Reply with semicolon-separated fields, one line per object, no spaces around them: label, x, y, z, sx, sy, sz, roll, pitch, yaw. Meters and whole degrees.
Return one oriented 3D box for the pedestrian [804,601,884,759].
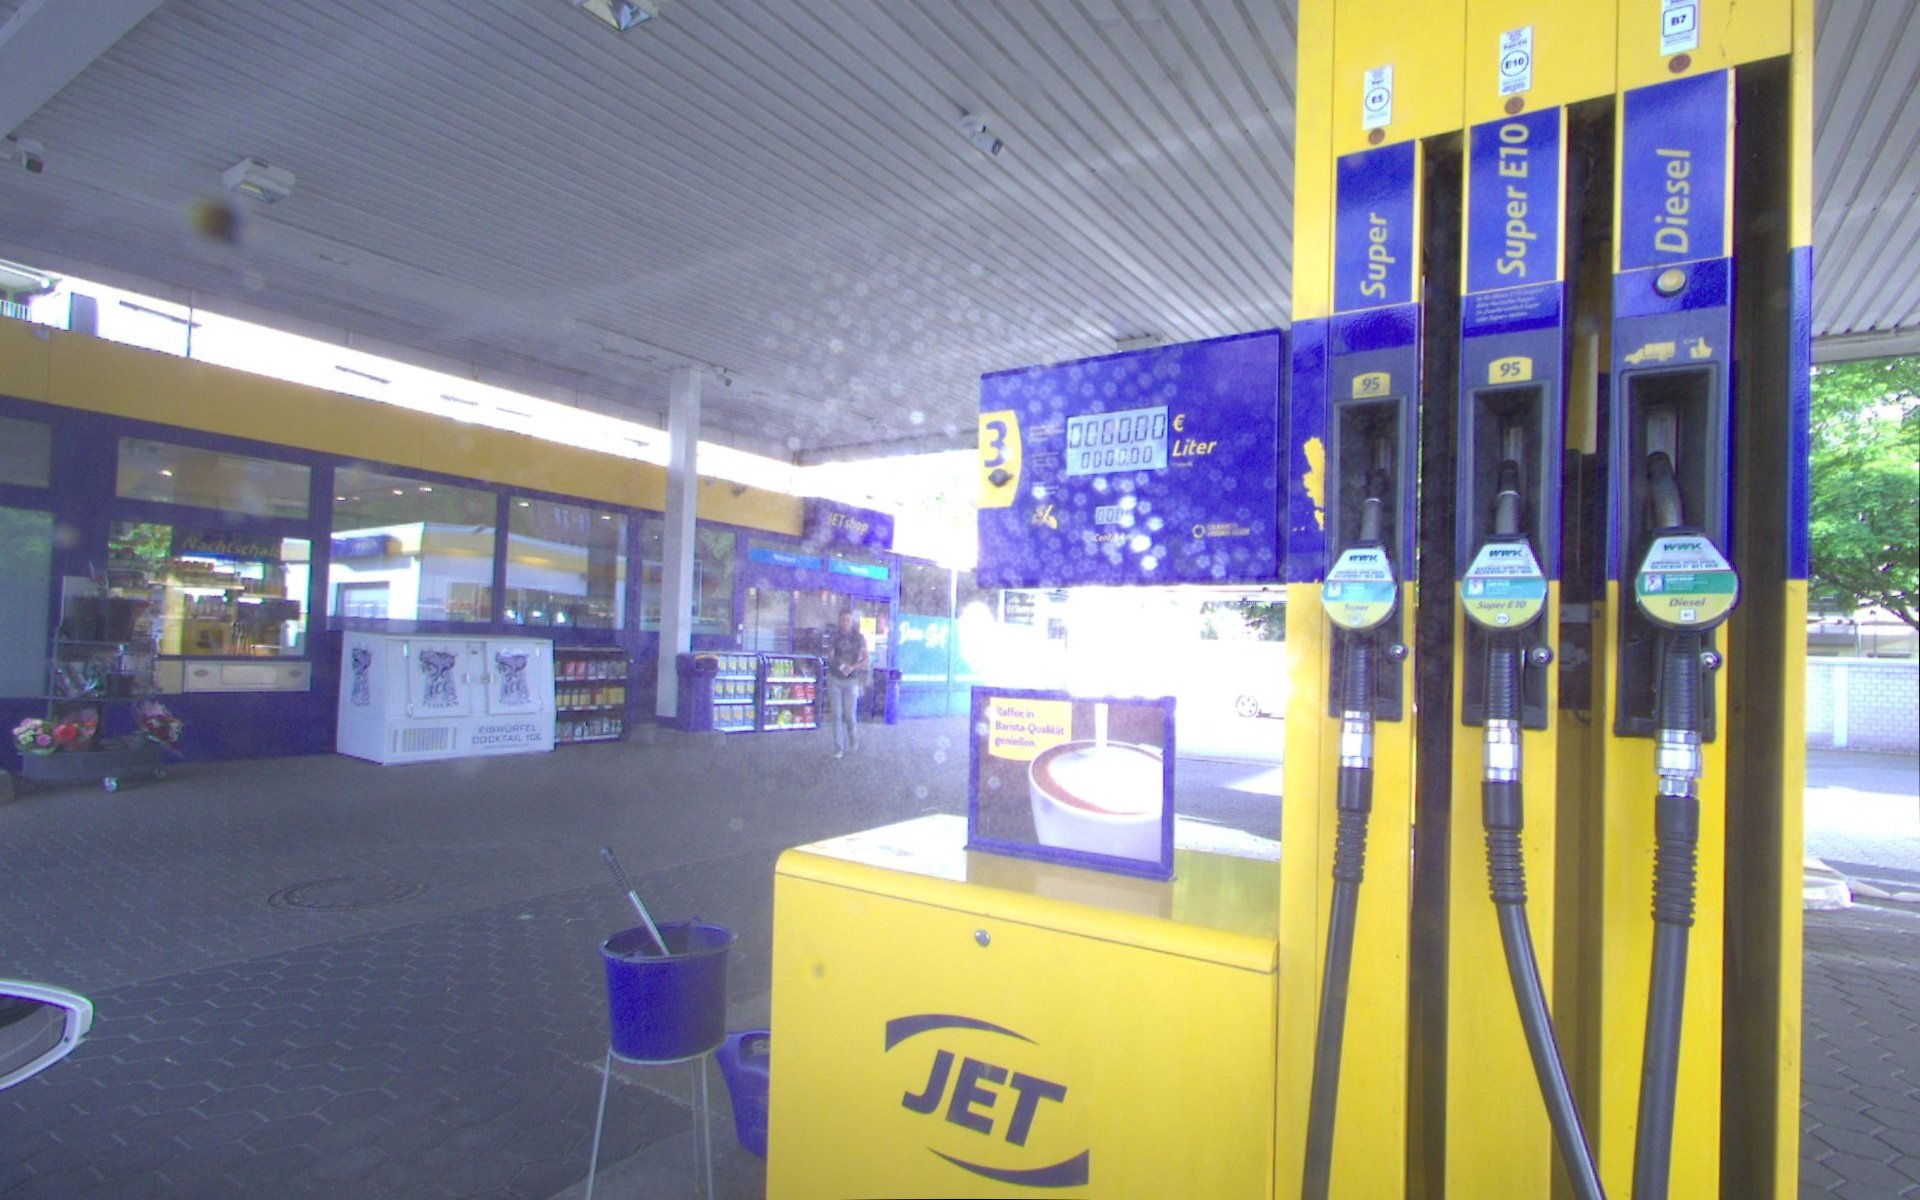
pedestrian;-1.406;0.965;12.348;0.788;1.838;0.985;2;-2;0
